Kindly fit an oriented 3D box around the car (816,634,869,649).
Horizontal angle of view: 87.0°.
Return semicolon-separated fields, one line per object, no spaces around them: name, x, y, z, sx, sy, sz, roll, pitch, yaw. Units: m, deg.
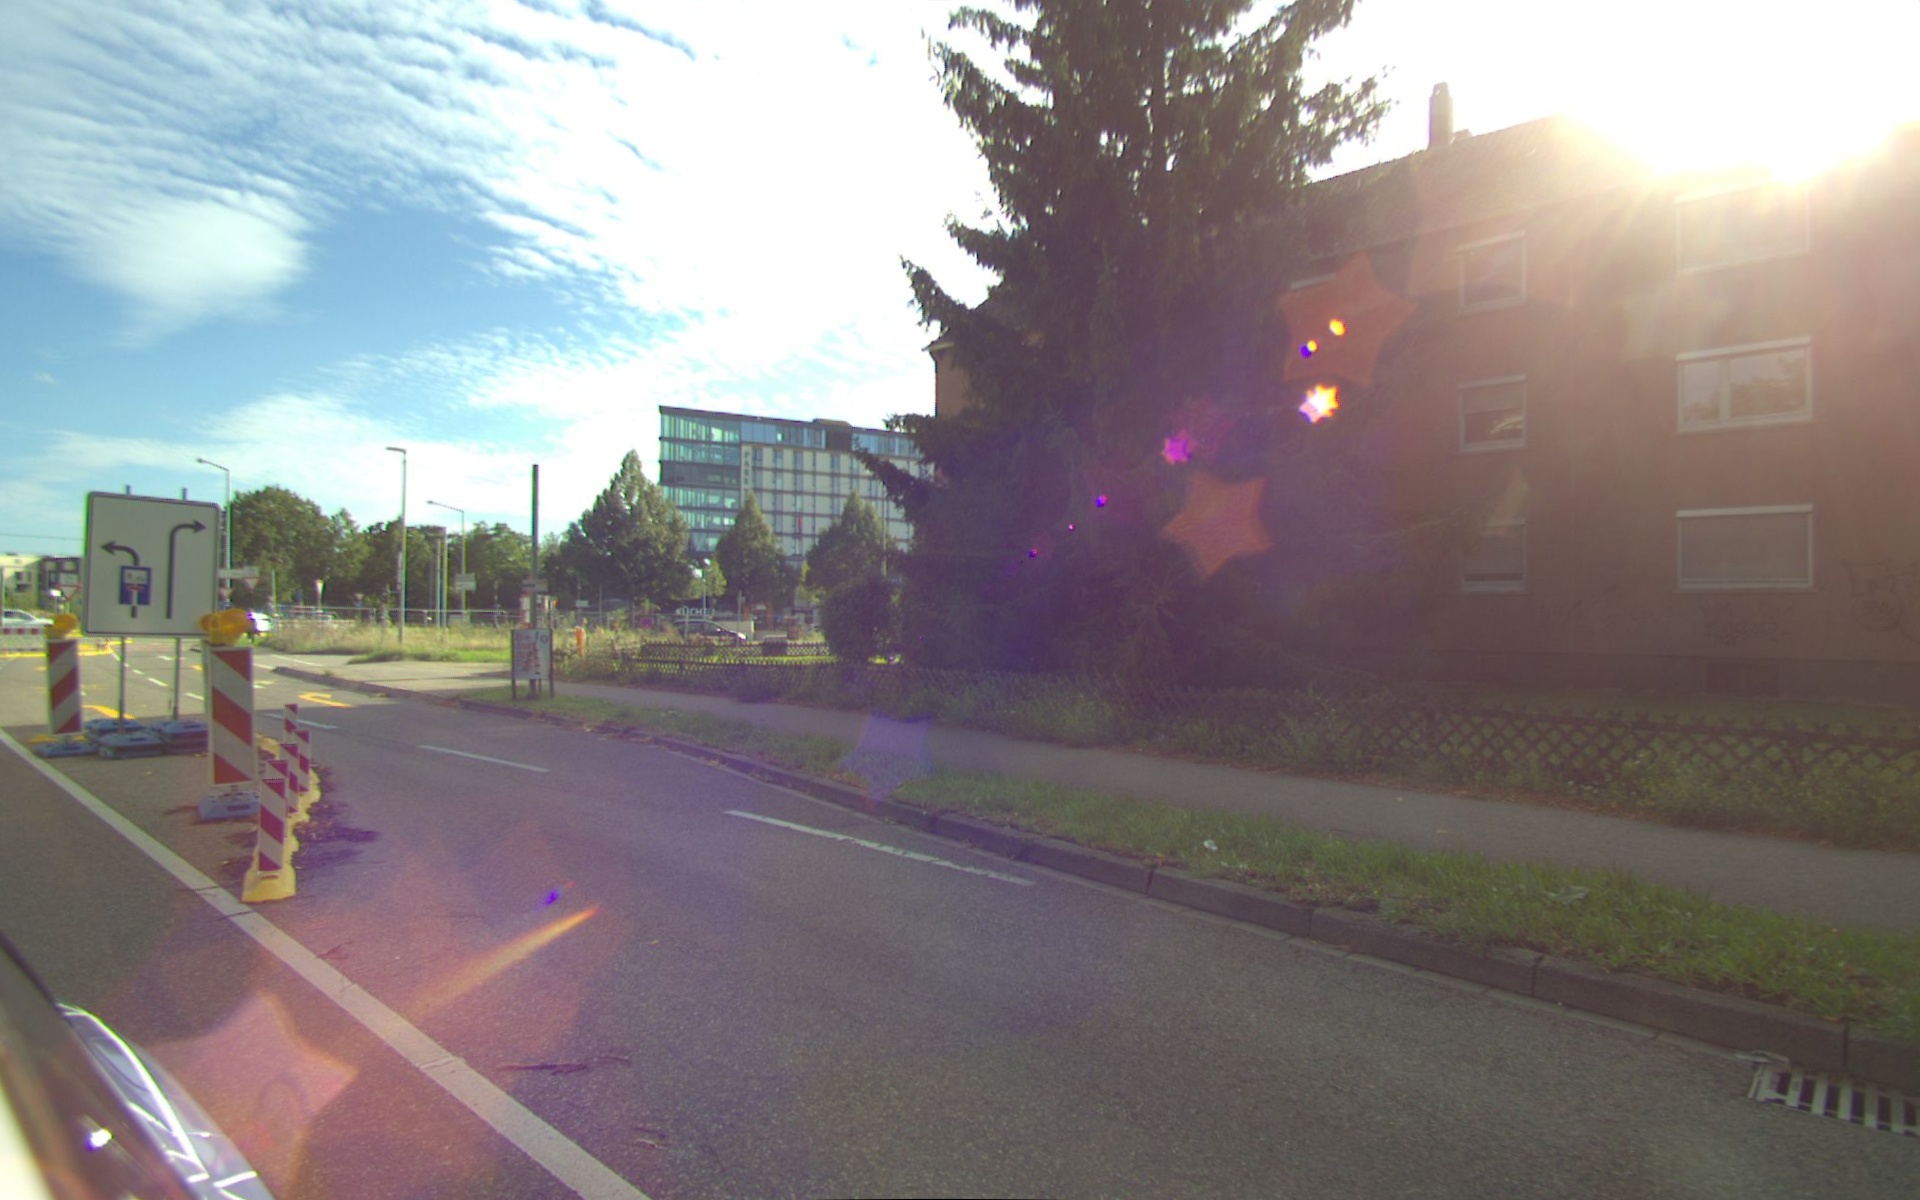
car;-11.431;3.993;98.315;4.731;1.362;2.005;1;-1;-34

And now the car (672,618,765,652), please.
car;-12.588;1.805;52.895;4.358;1.670;1.997;0;0;5

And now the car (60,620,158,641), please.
car;-57.272;2.008;68.201;1.981;1.362;4.788;0;-1;15

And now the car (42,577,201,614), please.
car;-43.477;-0.234;52.599;6.162;1.881;2.479;0;0;-2
